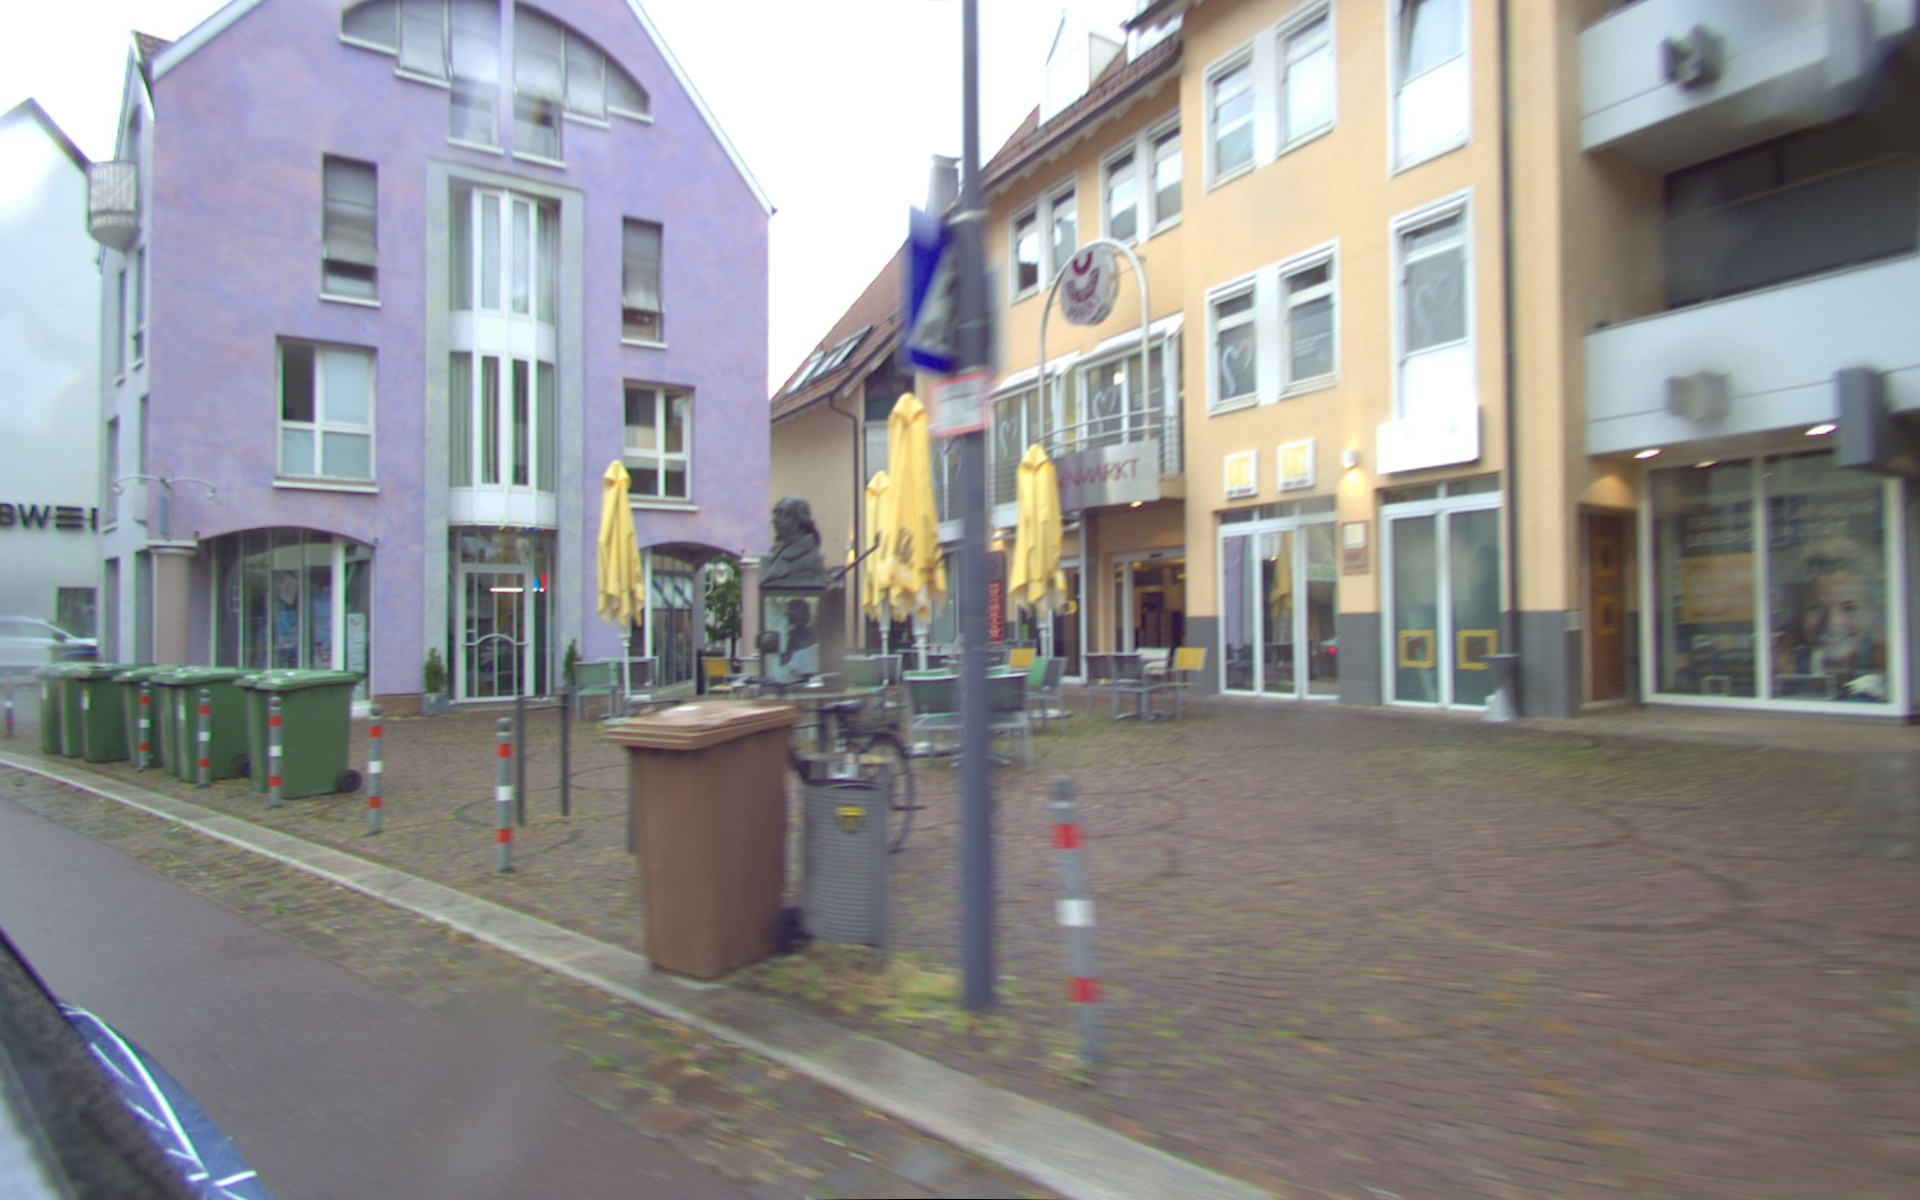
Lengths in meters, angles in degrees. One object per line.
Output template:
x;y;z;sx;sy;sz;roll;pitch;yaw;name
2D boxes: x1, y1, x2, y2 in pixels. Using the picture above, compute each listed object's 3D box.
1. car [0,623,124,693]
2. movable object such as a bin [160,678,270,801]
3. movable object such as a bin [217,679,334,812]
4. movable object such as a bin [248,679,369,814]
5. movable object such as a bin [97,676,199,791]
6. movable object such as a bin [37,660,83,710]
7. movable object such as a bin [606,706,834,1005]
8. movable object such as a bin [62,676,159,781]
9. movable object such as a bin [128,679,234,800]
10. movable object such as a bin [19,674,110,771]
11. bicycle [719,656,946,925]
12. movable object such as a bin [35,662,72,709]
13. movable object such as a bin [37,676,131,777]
-22.708;1.367;24.376;3.936;1.595;1.836;1;-1;-40;car
-7.212;1.319;9.811;0.667;1.082;0.681;-2;-2;34;movable object such as a bin
-6.195;1.289;9.169;0.667;1.085;0.681;-2;-2;34;movable object such as a bin
-5.624;1.236;8.750;0.667;1.050;0.681;-2;-2;34;movable object such as a bin
-8.588;1.385;10.715;0.667;1.114;0.681;-2;-2;34;movable object such as a bin
-18.825;1.764;21.175;0.568;0.996;0.485;0;-1;18;movable object such as a bin
-0.974;0.986;4.183;0.628;1.028;0.683;-2;-2;26;movable object such as a bin
-9.547;1.420;11.379;0.667;1.089;0.681;-2;-2;34;movable object such as a bin
-7.868;1.380;10.225;0.667;1.114;0.681;-2;-2;34;movable object such as a bin
-10.895;1.466;12.319;0.675;1.086;0.681;-2;-2;34;movable object such as a bin
-0.631;0.943;5.646;0.441;1.173;1.738;0;0;23;bicycle
-18.528;1.746;20.680;0.448;0.902;0.456;0;-1;32;movable object such as a bin
-10.285;1.460;11.891;0.710;1.095;0.681;-2;-2;34;movable object such as a bin
